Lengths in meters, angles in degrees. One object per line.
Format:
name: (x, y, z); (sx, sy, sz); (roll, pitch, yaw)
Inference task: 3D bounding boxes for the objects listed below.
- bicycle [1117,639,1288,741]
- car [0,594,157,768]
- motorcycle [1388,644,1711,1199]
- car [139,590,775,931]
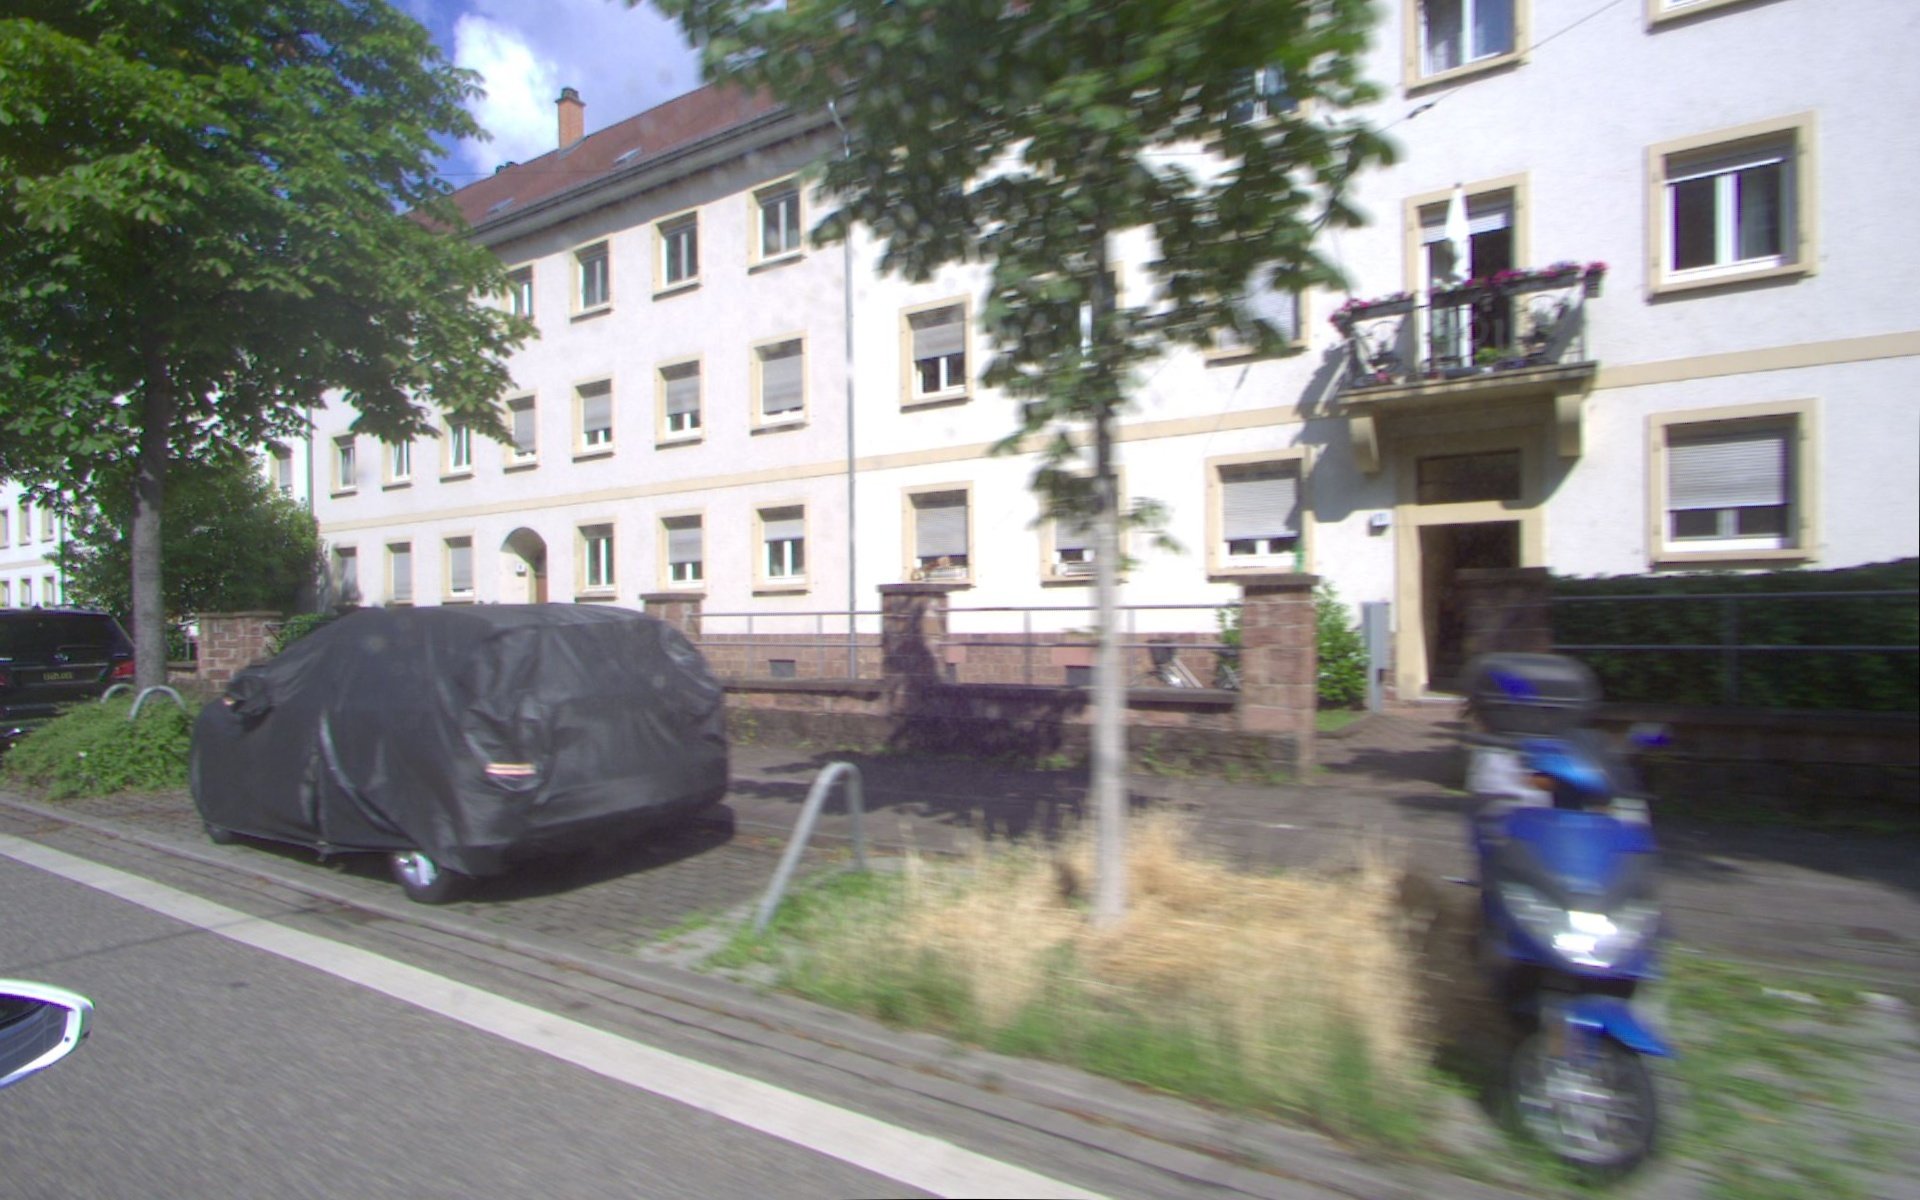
bicycle: (2.518, 0.905, 10.487); (1.655, 0.977, 0.536); (-1, 0, 33)
car: (-11.730, 0.873, 12.057); (4.665, 1.806, 1.823); (-1, 0, 33)
motorcycle: (2.019, 0.864, 3.556); (0.736, 1.354, 2.005); (-1, -1, 28)
car: (-3.623, 0.834, 6.933); (4.571, 1.674, 1.859); (-1, -1, 32)
